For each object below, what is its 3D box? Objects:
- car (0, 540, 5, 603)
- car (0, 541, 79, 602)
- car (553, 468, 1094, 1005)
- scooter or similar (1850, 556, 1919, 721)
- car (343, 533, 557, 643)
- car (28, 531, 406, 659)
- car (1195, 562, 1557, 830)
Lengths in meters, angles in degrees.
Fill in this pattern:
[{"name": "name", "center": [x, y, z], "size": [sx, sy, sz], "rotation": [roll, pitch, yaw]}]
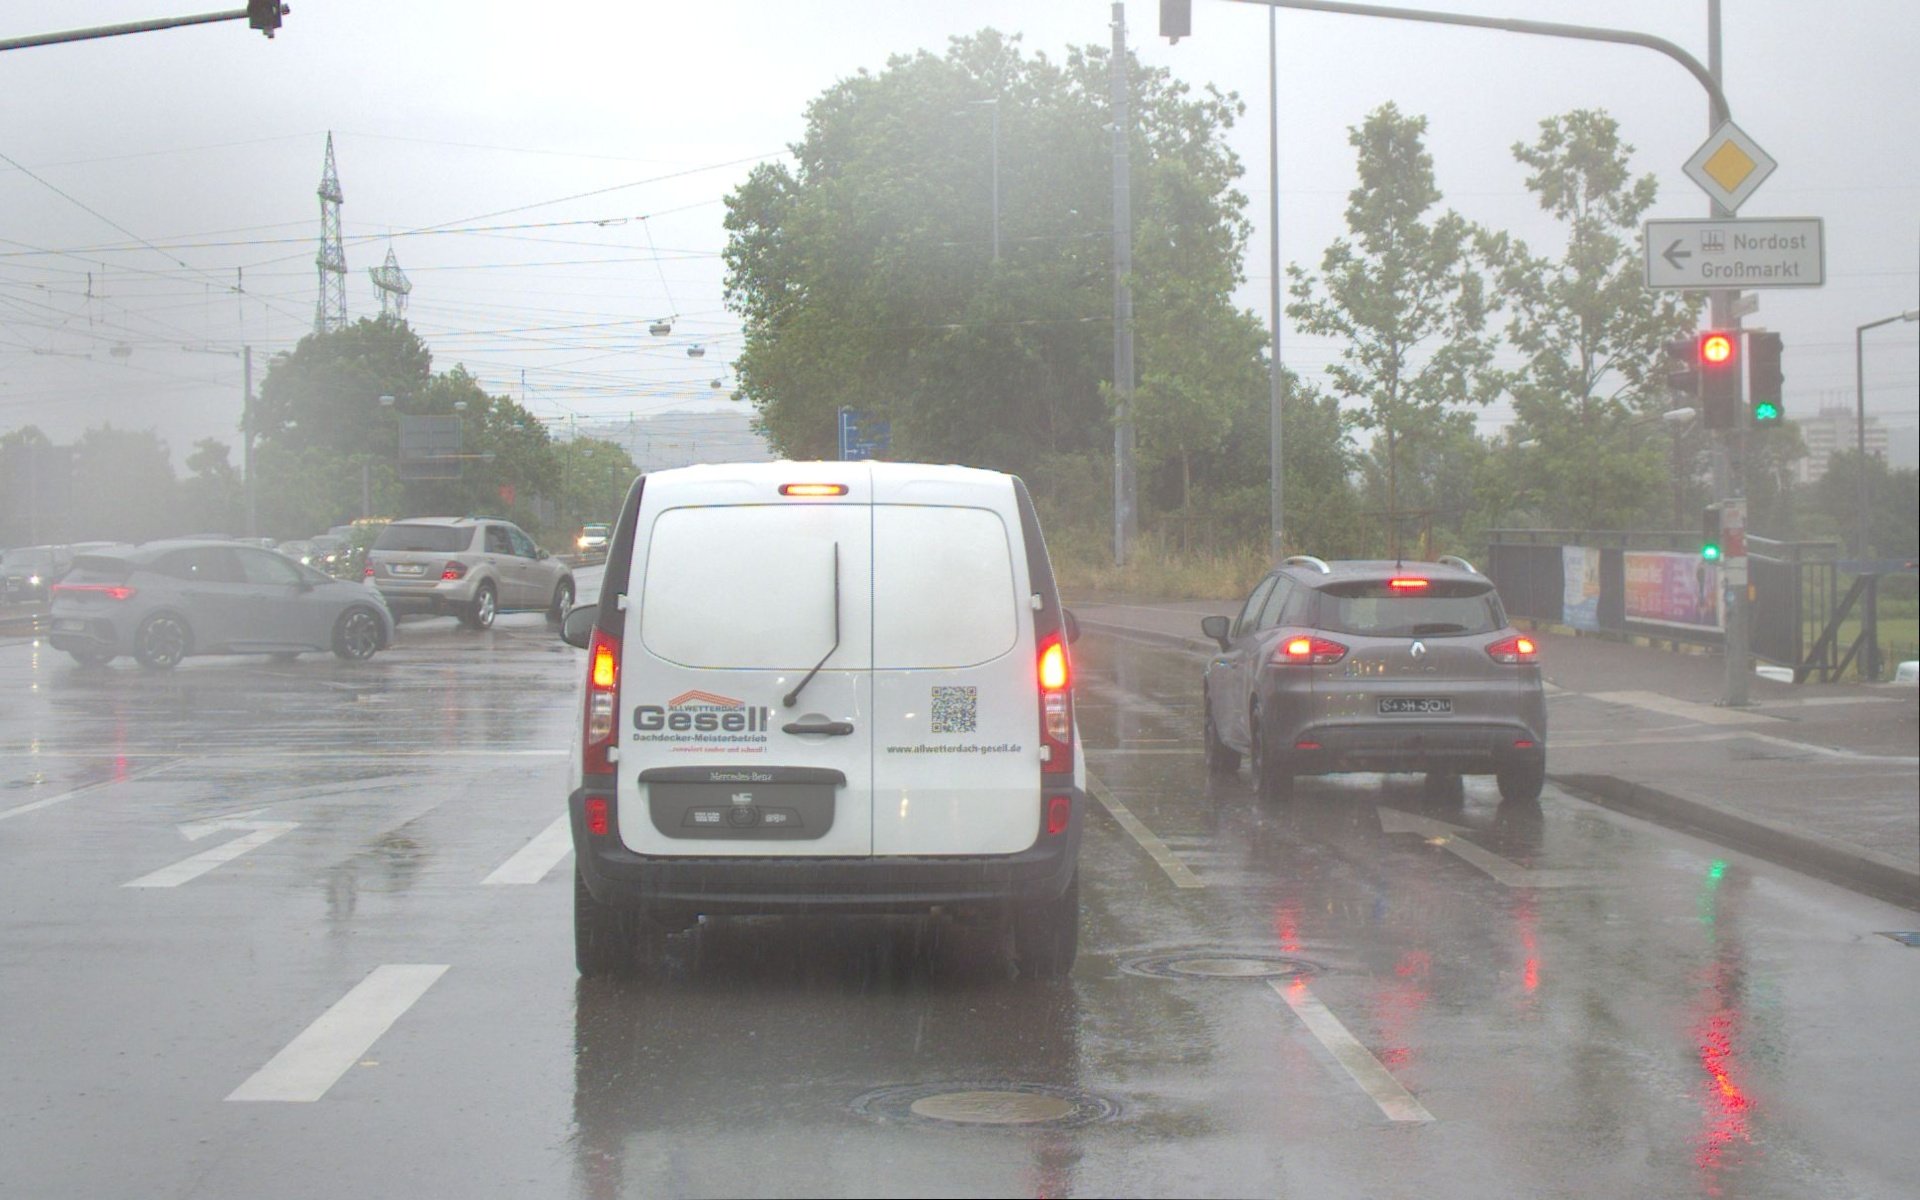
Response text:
[{"name": "car", "center": [-22.488, -0.679, 76.370], "size": [1.559, 1.421, 3.569], "rotation": [2, 0, -1]}, {"name": "car", "center": [-22.629, -0.686, 83.452], "size": [1.559, 1.421, 3.569], "rotation": [2, 0, -1]}, {"name": "car", "center": [-0.590, 0.394, 13.302], "size": [1.754, 1.744, 4.170], "rotation": [0, 1, -4]}, {"name": "scooter or similar", "center": [7.429, 0.277, 25.892], "size": [0.690, 1.207, 3.020], "rotation": [-1, 1, 1]}, {"name": "car", "center": [-8.142, -0.167, 55.322], "size": [1.948, 1.656, 4.461], "rotation": [1, 0, 12]}, {"name": "car", "center": [-9.092, -0.046, 42.244], "size": [4.186, 1.446, 1.717], "rotation": [2, -1, -40]}, {"name": "car", "center": [2.512, 0.531, 21.613], "size": [1.684, 1.503, 3.921], "rotation": [1, 1, -1]}]
